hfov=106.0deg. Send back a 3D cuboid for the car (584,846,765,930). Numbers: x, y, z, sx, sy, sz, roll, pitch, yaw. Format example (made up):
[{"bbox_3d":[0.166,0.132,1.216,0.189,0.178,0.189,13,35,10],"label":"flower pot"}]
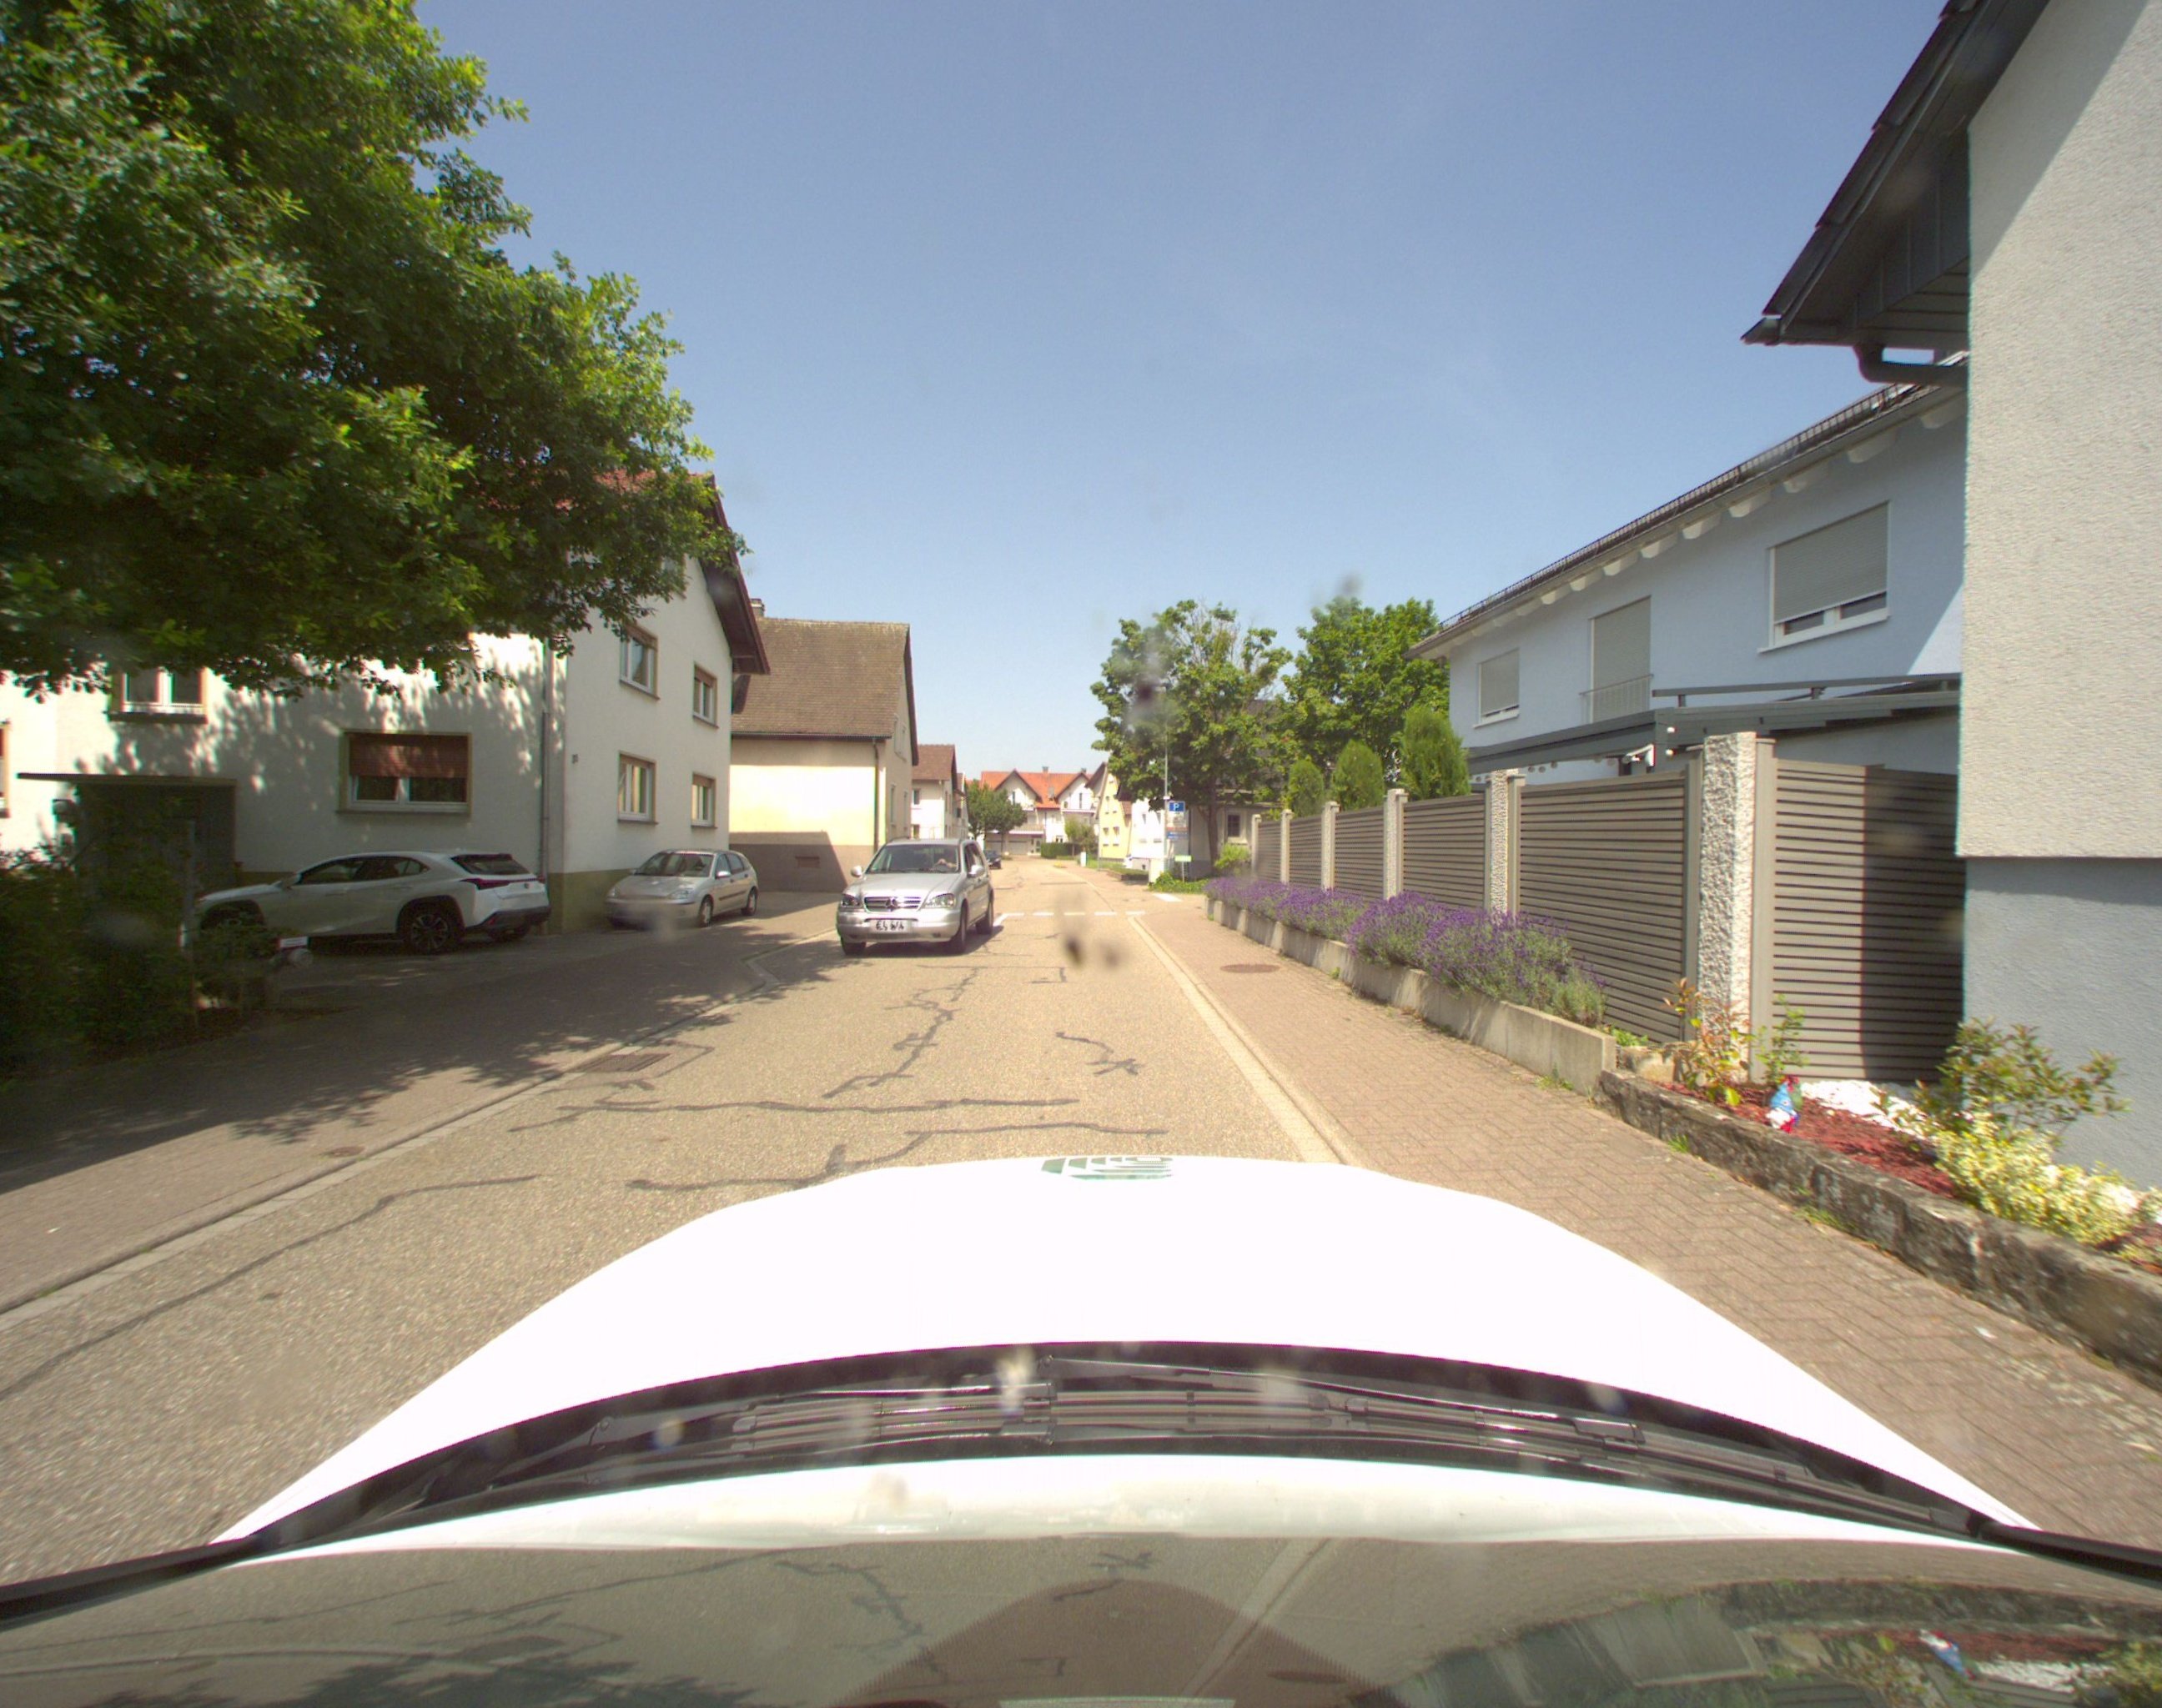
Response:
[{"bbox_3d":[-7.938,0.586,16.350,1.775,1.434,4.051,1,1,-4],"label":"car"}]

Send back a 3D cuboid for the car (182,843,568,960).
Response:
[{"bbox_3d":[-10.432,0.647,12.308,4.149,1.538,1.772,-1,1,-3],"label":"car"}]

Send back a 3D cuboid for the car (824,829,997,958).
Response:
[{"bbox_3d":[-2.589,0.533,13.479,1.879,1.767,4.331,-1,0,1],"label":"car"}]

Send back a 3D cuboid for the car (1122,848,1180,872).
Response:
[{"bbox_3d":[4.043,0.322,47.047,3.045,1.345,1.417,0,-1,-12],"label":"car"}]

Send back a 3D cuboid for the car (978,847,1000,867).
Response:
[{"bbox_3d":[-6.960,0.213,61.788,1.624,1.486,3.992,-1,1,-6],"label":"car"}]
